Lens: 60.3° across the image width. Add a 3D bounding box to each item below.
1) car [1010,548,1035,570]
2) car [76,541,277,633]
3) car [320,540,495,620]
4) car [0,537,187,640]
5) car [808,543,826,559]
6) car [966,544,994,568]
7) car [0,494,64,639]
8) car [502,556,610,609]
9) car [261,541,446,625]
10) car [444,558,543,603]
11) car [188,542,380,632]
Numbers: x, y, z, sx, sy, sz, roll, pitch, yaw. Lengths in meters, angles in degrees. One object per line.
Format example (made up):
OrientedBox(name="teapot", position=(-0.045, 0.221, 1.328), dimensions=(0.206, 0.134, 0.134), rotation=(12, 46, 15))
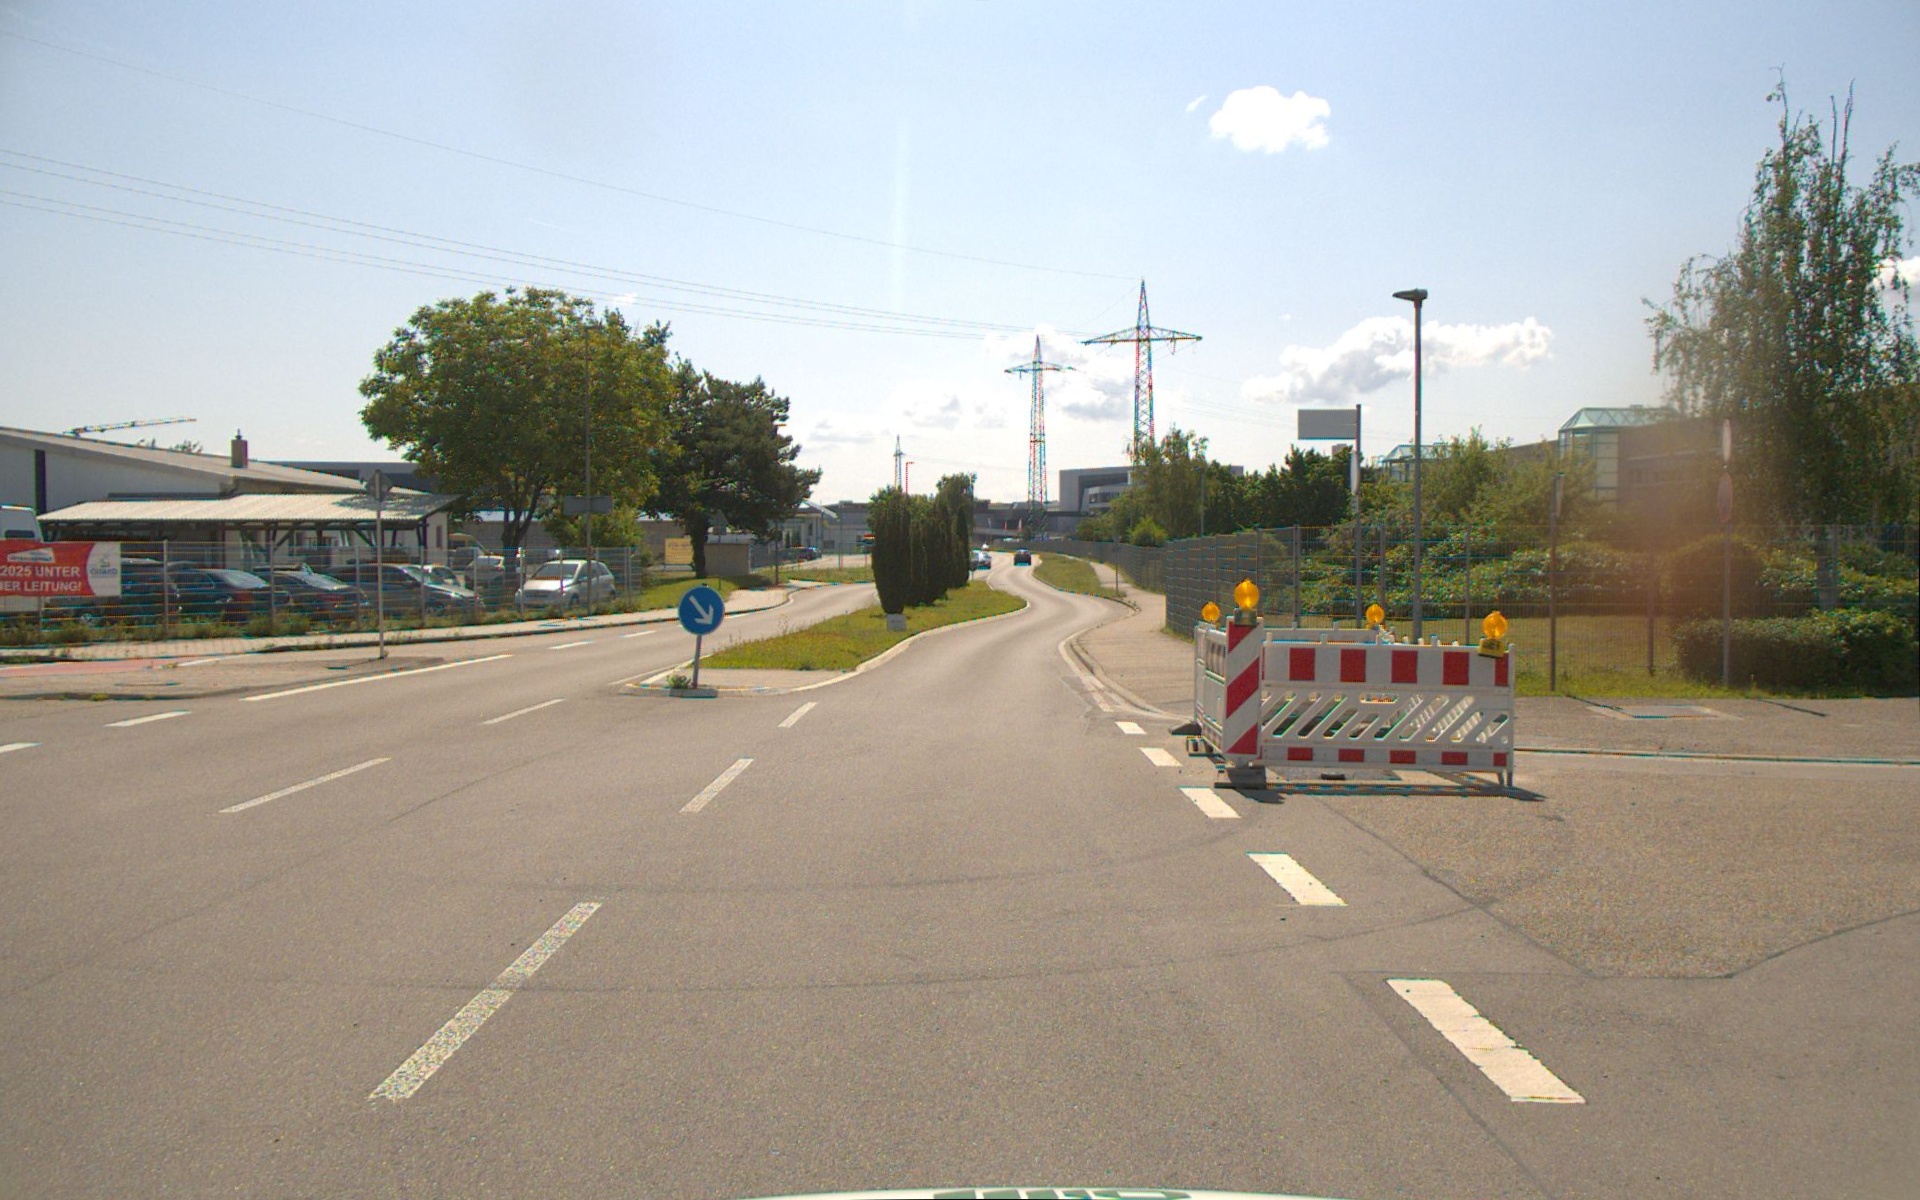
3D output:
OrientedBox(name="car", position=(6.390, -4.203, 170.000), dimensions=(2.226, 1.980, 4.664), rotation=(3, -1, -1))
OrientedBox(name="car", position=(-16.735, -0.332, 35.336), dimensions=(3.912, 1.811, 1.997), rotation=(2, 3, 29))
OrientedBox(name="car", position=(-14.310, -0.558, 42.904), dimensions=(3.904, 1.936, 2.001), rotation=(1, 2, 19))
OrientedBox(name="car", position=(-17.853, -0.291, 33.592), dimensions=(3.912, 1.936, 1.997), rotation=(2, 3, 29))
OrientedBox(name="car", position=(-19.059, -6.531, 220.479), dimensions=(1.952, 2.049, 4.001), rotation=(0, 1, 1))
OrientedBox(name="car", position=(1.832, -4.078, 152.590), dimensions=(2.440, 2.048, 4.665), rotation=(1, 2, -1))
OrientedBox(name="car", position=(-19.363, -0.621, 31.439), dimensions=(4.265, 2.654, 1.998), rotation=(0, 0, 26))
OrientedBox(name="car", position=(-12.137, -0.553, 49.894), dimensions=(1.789, 1.544, 3.592), rotation=(0, 1, 12))
OrientedBox(name="car", position=(-14.789, -0.455, 40.390), dimensions=(3.905, 1.936, 2.001), rotation=(1, 2, 21))
OrientedBox(name="car", position=(-19.725, -0.836, 70.051), dimensions=(3.919, 1.882, 1.828), rotation=(0, 1, -14))
OrientedBox(name="car", position=(-15.650, -0.340, 38.300), dimensions=(3.908, 1.936, 1.999), rotation=(2, 2, 25))
